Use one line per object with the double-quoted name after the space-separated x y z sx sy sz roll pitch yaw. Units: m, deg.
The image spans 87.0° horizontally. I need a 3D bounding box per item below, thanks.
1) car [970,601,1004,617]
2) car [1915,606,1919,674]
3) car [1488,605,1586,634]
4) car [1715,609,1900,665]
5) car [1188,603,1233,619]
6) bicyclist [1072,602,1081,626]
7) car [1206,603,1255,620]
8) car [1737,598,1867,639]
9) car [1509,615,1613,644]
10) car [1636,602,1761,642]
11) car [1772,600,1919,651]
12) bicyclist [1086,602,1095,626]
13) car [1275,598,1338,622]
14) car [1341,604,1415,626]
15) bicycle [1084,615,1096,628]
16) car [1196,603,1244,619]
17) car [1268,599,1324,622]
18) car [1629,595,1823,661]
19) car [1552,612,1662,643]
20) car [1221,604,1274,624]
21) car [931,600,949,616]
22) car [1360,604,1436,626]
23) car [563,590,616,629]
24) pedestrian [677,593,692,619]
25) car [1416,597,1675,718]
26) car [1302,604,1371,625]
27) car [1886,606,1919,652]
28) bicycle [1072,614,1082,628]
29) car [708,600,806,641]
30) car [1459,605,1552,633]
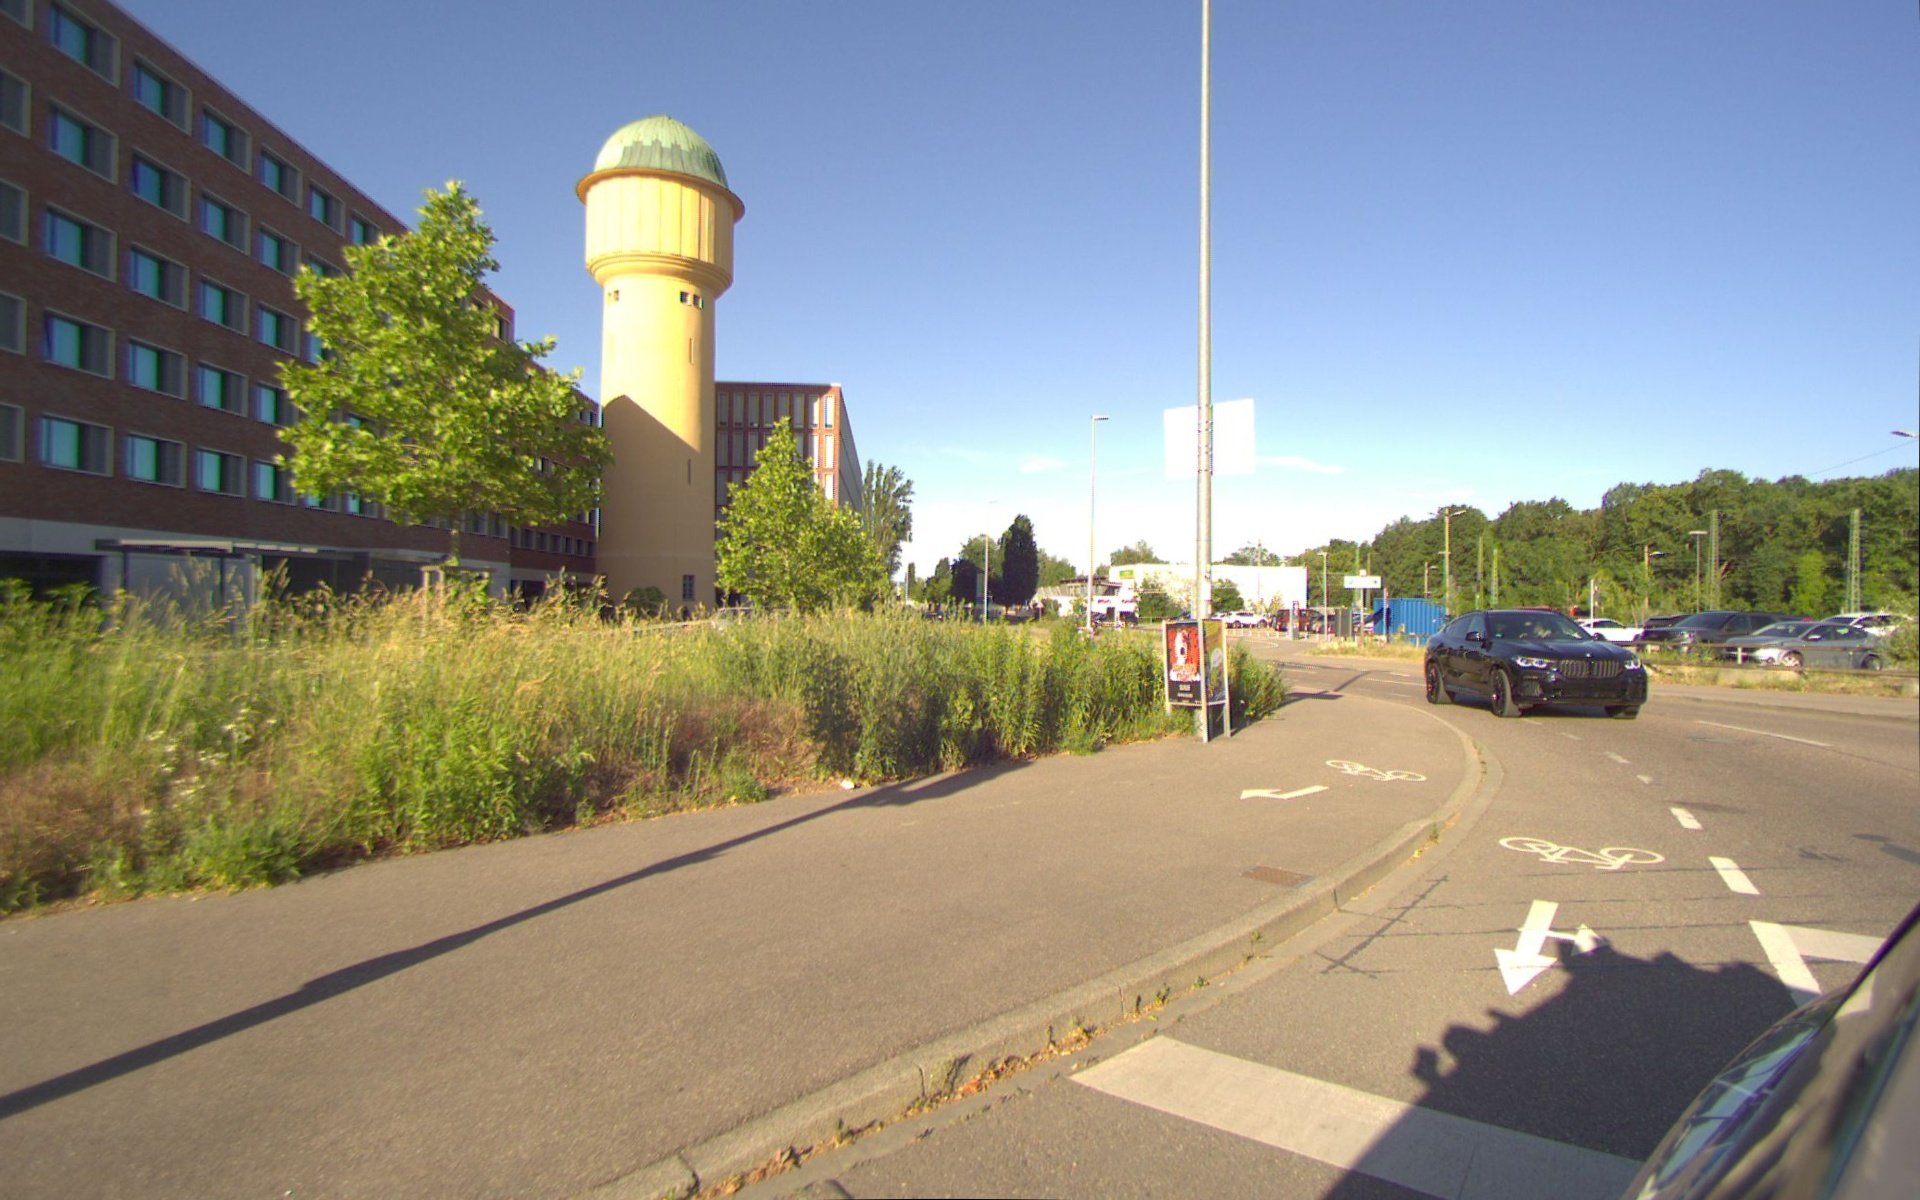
4.557 1.482 171.968 5.657 2.736 2.002 0 -1 -5 "car"
23.876 0.911 22.373 3.920 1.535 1.857 0 -1 -5 "car"
31.353 1.040 55.074 4.356 1.485 1.872 -1 -1 -8 "car"
23.247 0.978 27.835 3.843 1.472 1.842 0 -1 -10 "car"
25.005 1.069 101.051 3.930 1.506 1.768 -1 -1 -10 "car"
9.546 1.128 82.682 0.557 1.895 0.854 0 -1 -6 "bicyclist"
25.603 1.043 95.799 4.073 1.505 1.764 -1 -1 -10 "car"
33.305 0.710 40.089 3.918 1.524 1.729 -1 0 -8 "car"
31.076 1.502 52.388 4.356 1.461 1.872 0 -1 -8 "car"
32.248 0.957 44.240 4.117 1.610 1.989 -1 -1 -8 "car"
32.854 0.907 37.074 4.609 1.716 2.041 -1 -1 -3 "car"
10.403 1.129 80.731 0.557 1.895 0.854 0 -1 -6 "bicyclist"
27.779 0.808 81.305 4.363 1.800 1.869 -1 -1 1 "car"
29.151 1.029 70.663 4.356 1.395 1.872 -1 -1 -8 "car"
10.370 1.709 80.662 0.547 1.078 1.726 -1 -1 -5 "bicycle"
25.261 1.055 98.292 4.071 1.506 1.768 -1 -1 -10 "car"
28.048 0.901 84.520 3.998 1.800 1.869 -1 -1 1 "car"
23.134 0.828 30.667 4.446 1.765 2.071 2 -1 -7 "car"
31.744 1.320 49.700 4.356 1.395 1.872 -1 -1 -8 "car"
26.557 1.286 93.536 4.356 1.801 1.872 0 -1 -8 "car"
-2.623 1.072 132.345 1.960 2.039 4.004 0 0 -6 "car"
29.565 1.014 68.343 4.356 1.395 1.872 -1 -1 -8 "car"
-22.848 0.589 62.518 1.831 2.293 4.942 0 0 -5 "car"
-19.740 0.432 72.502 0.878 1.887 0.973 0 -1 -27 "pedestrian"
9.504 0.845 16.985 2.013 1.736 4.741 -1 0 7 "car"
28.321 1.096 76.204 4.362 1.462 1.921 -1 -1 0 "car"
33.904 0.929 34.069 3.864 1.506 1.893 -1 0 -6 "car"
9.524 1.702 82.697 0.493 1.139 1.567 0 -1 -5 "bicycle"
-9.358 0.920 46.908 4.246 1.851 2.002 0 -1 -5 "car"
31.118 1.062 57.740 4.356 1.447 1.872 -1 -1 -8 "car"
